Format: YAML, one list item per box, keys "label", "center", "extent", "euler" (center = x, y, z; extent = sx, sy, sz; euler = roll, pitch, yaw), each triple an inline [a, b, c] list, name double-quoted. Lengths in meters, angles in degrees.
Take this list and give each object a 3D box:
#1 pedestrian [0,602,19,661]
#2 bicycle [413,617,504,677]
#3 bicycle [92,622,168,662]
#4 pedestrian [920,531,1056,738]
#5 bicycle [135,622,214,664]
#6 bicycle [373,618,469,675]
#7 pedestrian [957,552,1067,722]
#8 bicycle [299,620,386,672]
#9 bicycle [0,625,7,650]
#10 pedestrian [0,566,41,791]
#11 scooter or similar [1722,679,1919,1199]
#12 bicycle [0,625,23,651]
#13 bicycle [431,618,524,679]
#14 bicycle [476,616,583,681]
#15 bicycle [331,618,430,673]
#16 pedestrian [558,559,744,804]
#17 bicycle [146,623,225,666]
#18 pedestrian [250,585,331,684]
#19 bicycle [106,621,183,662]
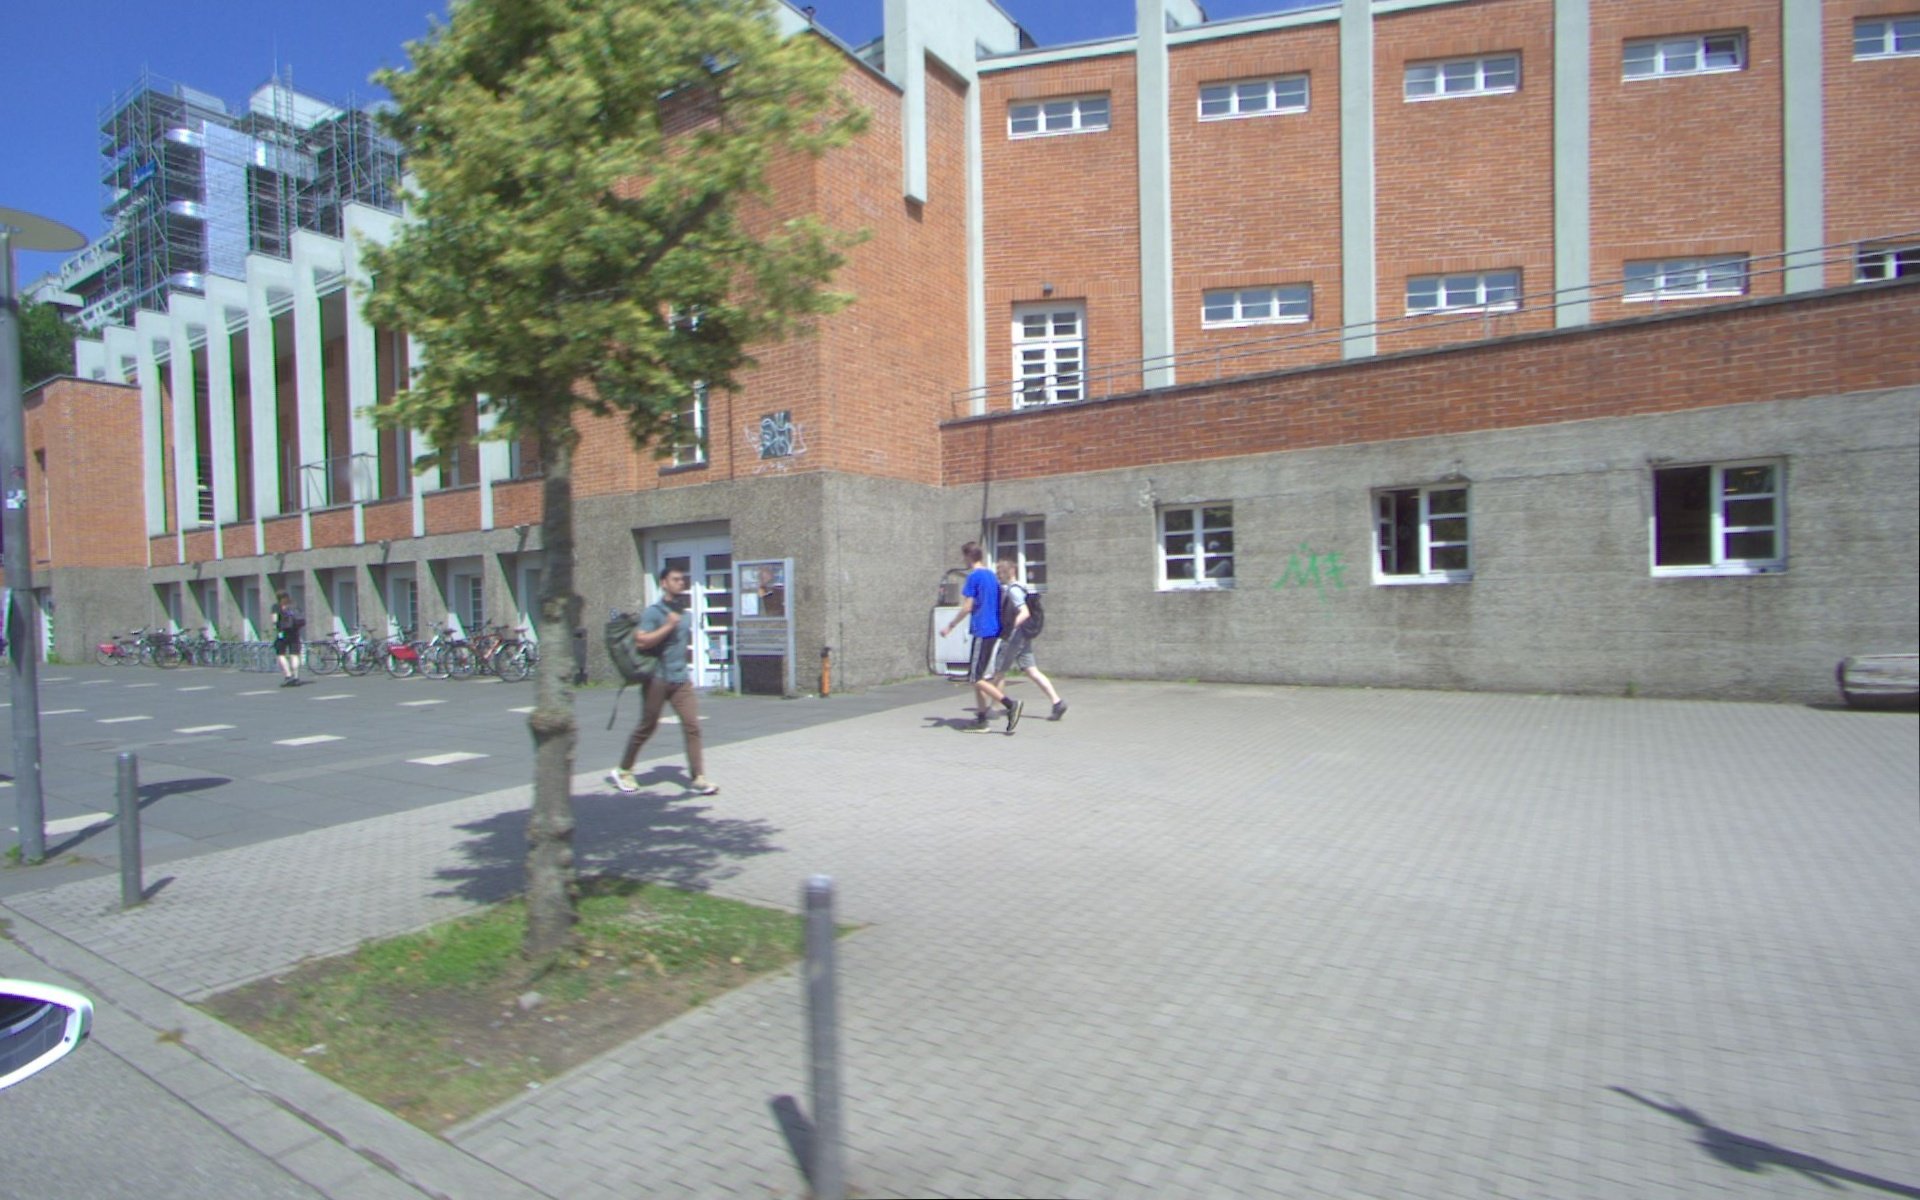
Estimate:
- label: "pedestrian"
  center: [-30.912, 1.016, 32.129]
  extent: [0.890, 1.858, 0.664]
  euler: [-1, 1, 19]
- label: "bicycle"
  center: [-10.145, 0.937, 20.300]
  extent: [0.429, 1.125, 1.647]
  euler: [-1, 1, 32]
- label: "bicycle"
  center: [-25.724, 1.294, 31.050]
  extent: [0.429, 1.165, 1.749]
  euler: [-1, 1, 32]
- label: "pedestrian"
  center: [0.281, 0.333, 9.773]
  extent: [1.092, 1.915, 0.663]
  euler: [-2, 1, 26]
- label: "bicycle"
  center: [-22.929, 1.234, 29.255]
  extent: [0.429, 1.125, 1.743]
  euler: [-1, 1, 32]
- label: "bicycle"
  center: [-11.419, 0.960, 21.283]
  extent: [0.429, 1.125, 1.793]
  euler: [-1, 1, 32]
- label: "pedestrian"
  center: [0.560, 0.391, 10.654]
  extent: [0.985, 1.729, 0.585]
  euler: [-2, 1, 23]
- label: "bicycle"
  center: [-14.273, 1.046, 23.202]
  extent: [0.429, 1.125, 1.679]
  euler: [-1, 1, 32]
- label: "bicycle"
  center: [-43.824, 1.683, 44.750]
  extent: [0.442, 1.124, 1.696]
  euler: [-1, 0, 34]
- label: "pedestrian"
  center: [-8.618, 0.670, 8.407]
  extent: [1.009, 1.873, 0.912]
  euler: [-3, 2, -25]
- label: "scooter or similar"
  center: [2.091, 0.782, 1.774]
  extent: [1.334, 1.247, 0.574]
  euler: [-1, 2, -22]
- label: "bicycle"
  center: [-42.229, 1.685, 43.750]
  extent: [0.442, 1.124, 1.801]
  euler: [-1, 0, 34]
- label: "bicycle"
  center: [-9.571, 0.939, 19.923]
  extent: [0.429, 1.125, 1.690]
  euler: [-1, 1, 32]
- label: "bicycle"
  center: [-8.097, 0.894, 18.922]
  extent: [0.450, 1.125, 1.925]
  euler: [-1, 0, 32]
- label: "bicycle"
  center: [-12.880, 0.996, 22.314]
  extent: [0.429, 1.125, 1.907]
  euler: [-1, 1, 32]
- label: "pedestrian"
  center: [-2.318, 0.572, 7.535]
  extent: [1.064, 1.698, 0.781]
  euler: [-2, 1, 31]
- label: "bicycle"
  center: [-21.822, 1.246, 28.245]
  extent: [0.429, 1.125, 1.679]
  euler: [-1, 1, 32]
- label: "pedestrian"
  center: [-13.076, 0.661, 19.571]
  extent: [1.179, 1.858, 0.843]
  euler: [-1, 1, 29]
- label: "bicycle"
  center: [-24.913, 1.263, 30.619]
  extent: [0.510, 1.165, 1.749]
  euler: [-1, 1, 32]
